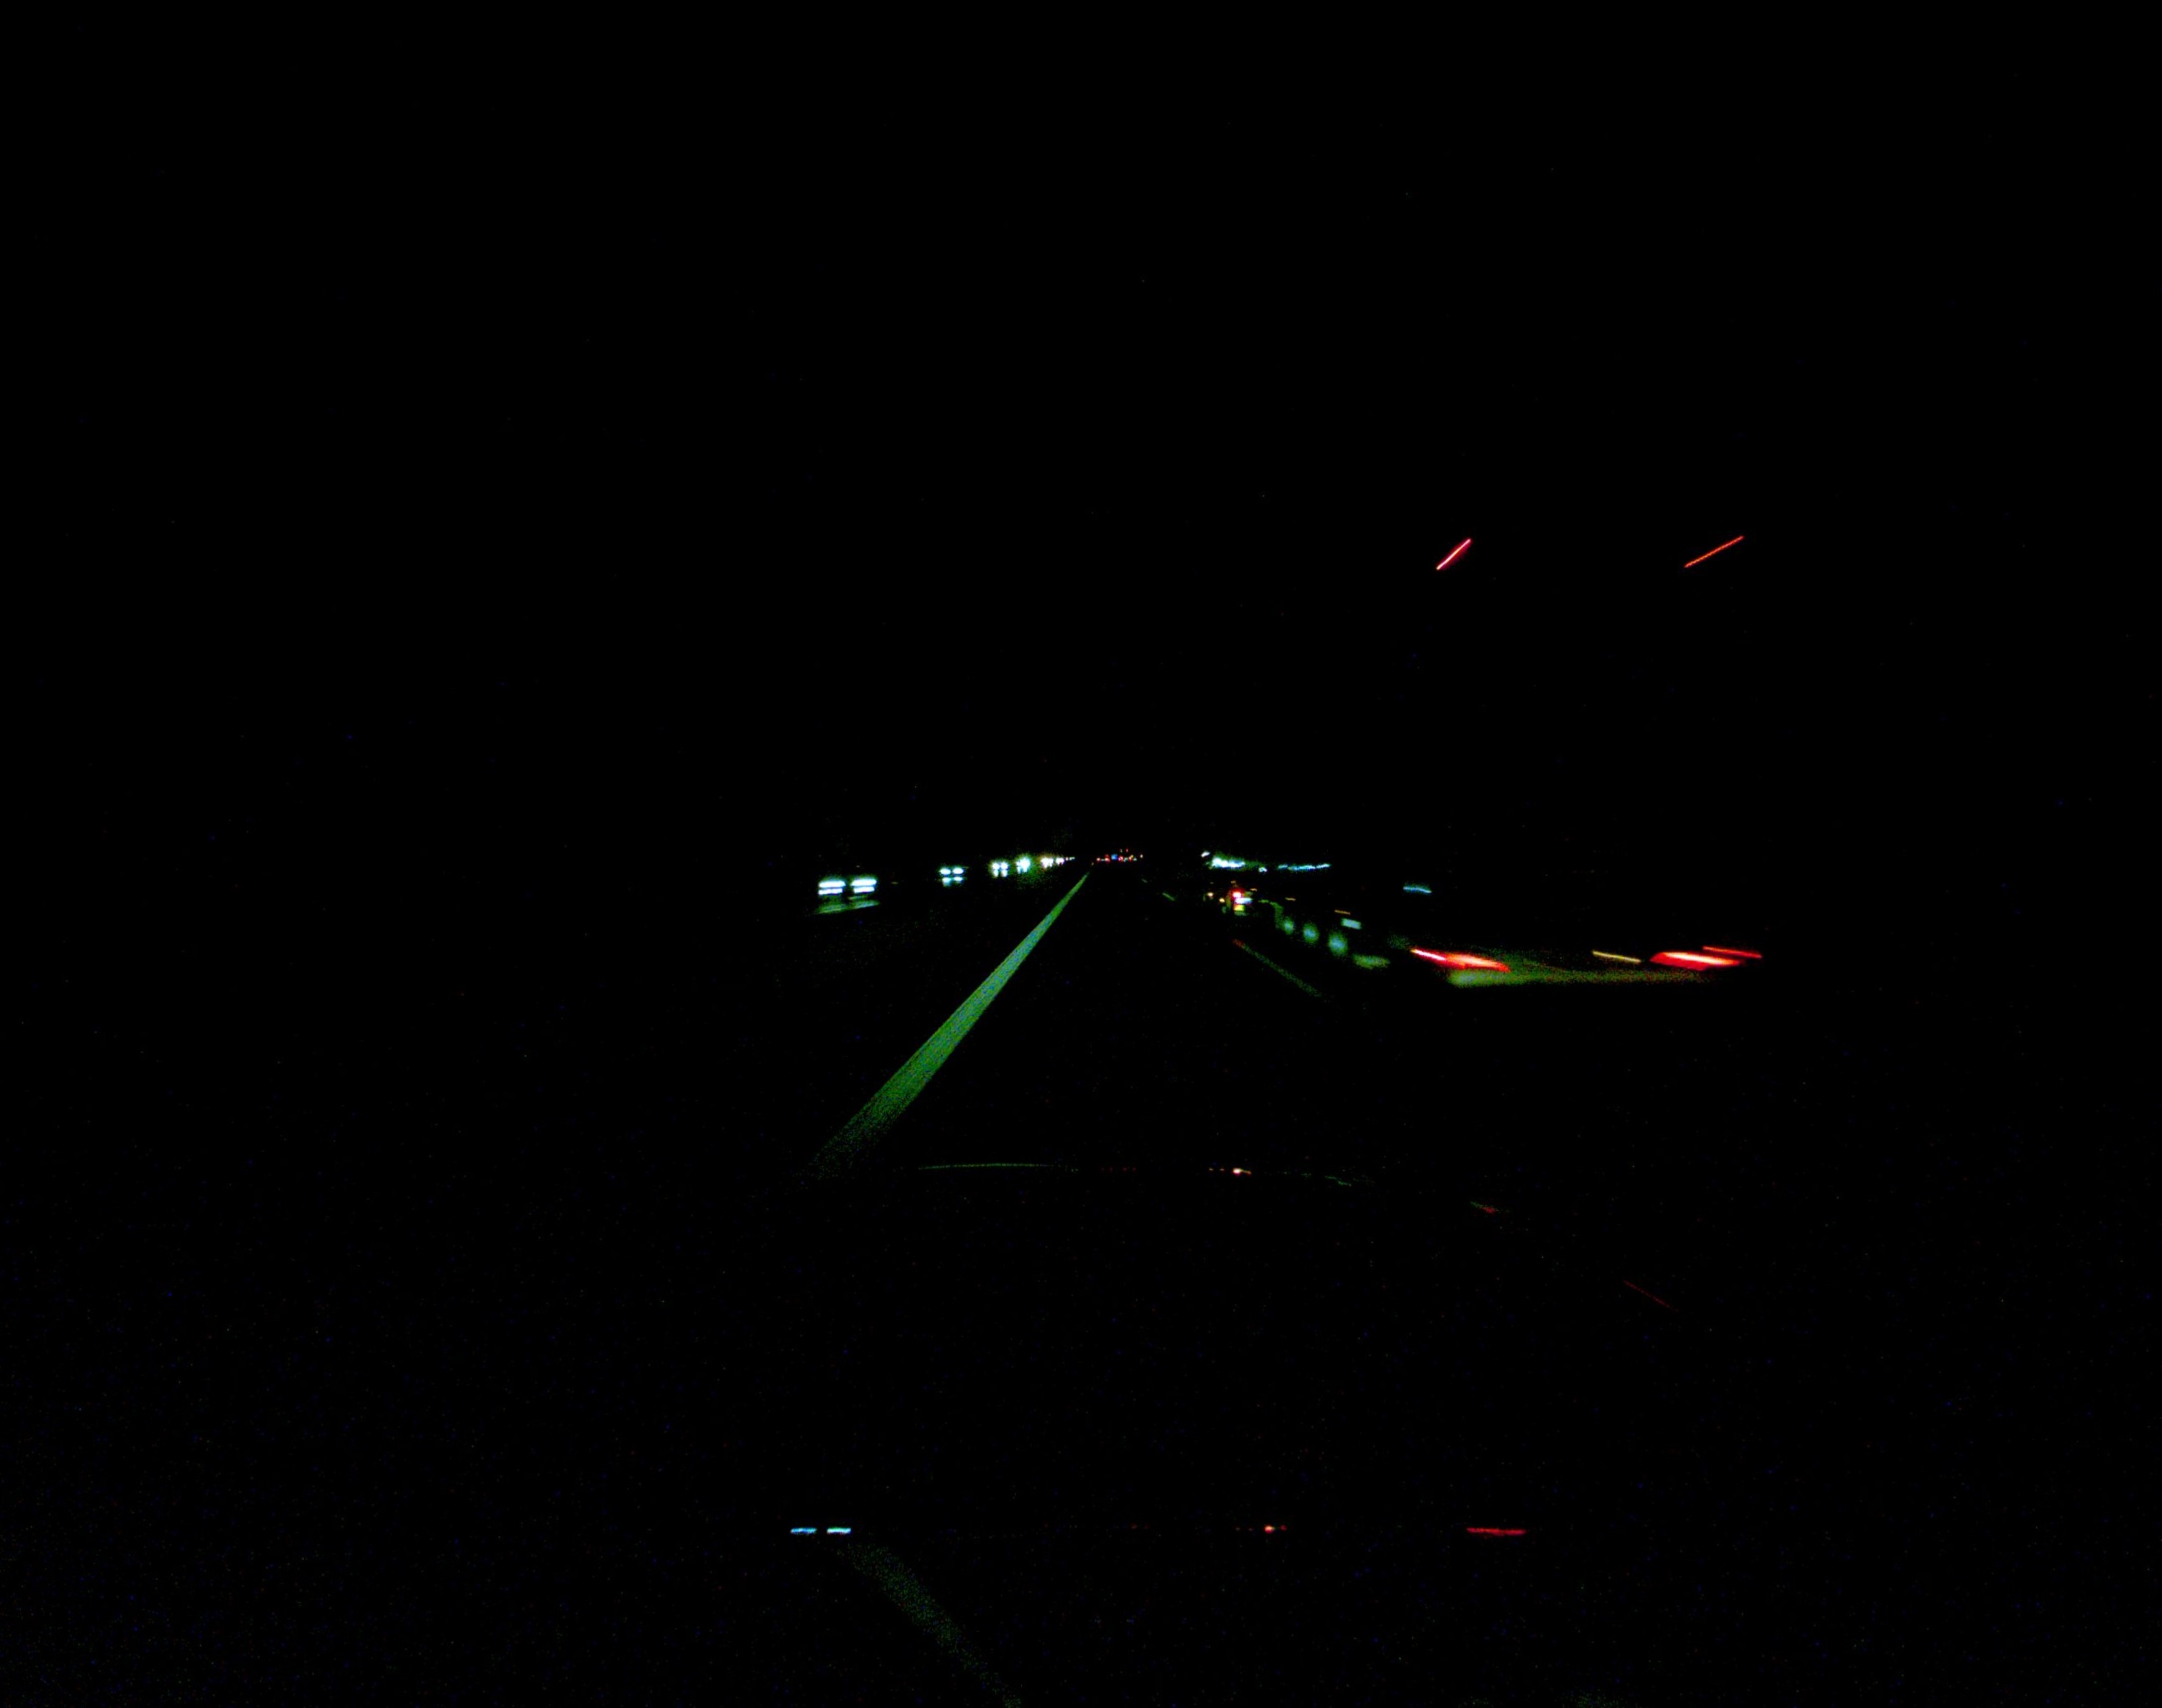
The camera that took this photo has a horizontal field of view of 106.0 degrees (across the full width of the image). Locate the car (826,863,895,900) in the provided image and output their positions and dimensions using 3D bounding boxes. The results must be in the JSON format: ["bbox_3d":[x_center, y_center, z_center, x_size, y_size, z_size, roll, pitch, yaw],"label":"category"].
[{"bbox_3d":[-10.163,1.221,37.921,1.744,1.478,4.765,-3,0,2],"label":"car"}]

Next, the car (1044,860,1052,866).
[{"bbox_3d":[-8.000,2.117,195.983,1.745,1.478,4.581,-3,0,0],"label":"car"}]

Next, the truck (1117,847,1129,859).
[{"bbox_3d":[12.244,-0.207,239.775,3.034,3.325,10.141,0,0,0],"label":"truck"}]

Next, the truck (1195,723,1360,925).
[{"bbox_3d":[4.560,-0.624,20.331,2.652,4.206,6.724,0,0,1],"label":"truck"}]

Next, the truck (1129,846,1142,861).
[{"bbox_3d":[10.746,-0.028,161.102,2.071,2.691,7.302,0,-2,-1],"label":"truck"}]

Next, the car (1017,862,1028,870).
[{"bbox_3d":[-10.781,2.189,151.023,1.626,1.394,4.877,-3,0,0],"label":"car"}]

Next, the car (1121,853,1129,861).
[{"bbox_3d":[7.887,0.611,147.400,1.341,1.387,3.501,0,0,1],"label":"car"}]

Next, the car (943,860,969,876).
[{"bbox_3d":[-12.495,1.401,81.772,1.744,1.478,4.726,-3,0,0],"label":"car"}]

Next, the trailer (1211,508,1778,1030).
[{"bbox_3d":[4.396,-0.661,13.310,2.732,4.206,13.514,0,0,1],"label":"trailer"}]

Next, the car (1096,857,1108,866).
[{"bbox_3d":[3.252,1.147,124.515,1.815,1.466,4.248,0,0,1],"label":"car"}]

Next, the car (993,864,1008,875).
[{"bbox_3d":[-11.677,2.259,118.916,1.657,1.334,4.808,-3,0,0],"label":"car"}]

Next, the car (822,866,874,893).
[{"bbox_3d":[-14.735,1.589,51.715,1.743,1.478,4.484,-3,0,3],"label":"car"}]
